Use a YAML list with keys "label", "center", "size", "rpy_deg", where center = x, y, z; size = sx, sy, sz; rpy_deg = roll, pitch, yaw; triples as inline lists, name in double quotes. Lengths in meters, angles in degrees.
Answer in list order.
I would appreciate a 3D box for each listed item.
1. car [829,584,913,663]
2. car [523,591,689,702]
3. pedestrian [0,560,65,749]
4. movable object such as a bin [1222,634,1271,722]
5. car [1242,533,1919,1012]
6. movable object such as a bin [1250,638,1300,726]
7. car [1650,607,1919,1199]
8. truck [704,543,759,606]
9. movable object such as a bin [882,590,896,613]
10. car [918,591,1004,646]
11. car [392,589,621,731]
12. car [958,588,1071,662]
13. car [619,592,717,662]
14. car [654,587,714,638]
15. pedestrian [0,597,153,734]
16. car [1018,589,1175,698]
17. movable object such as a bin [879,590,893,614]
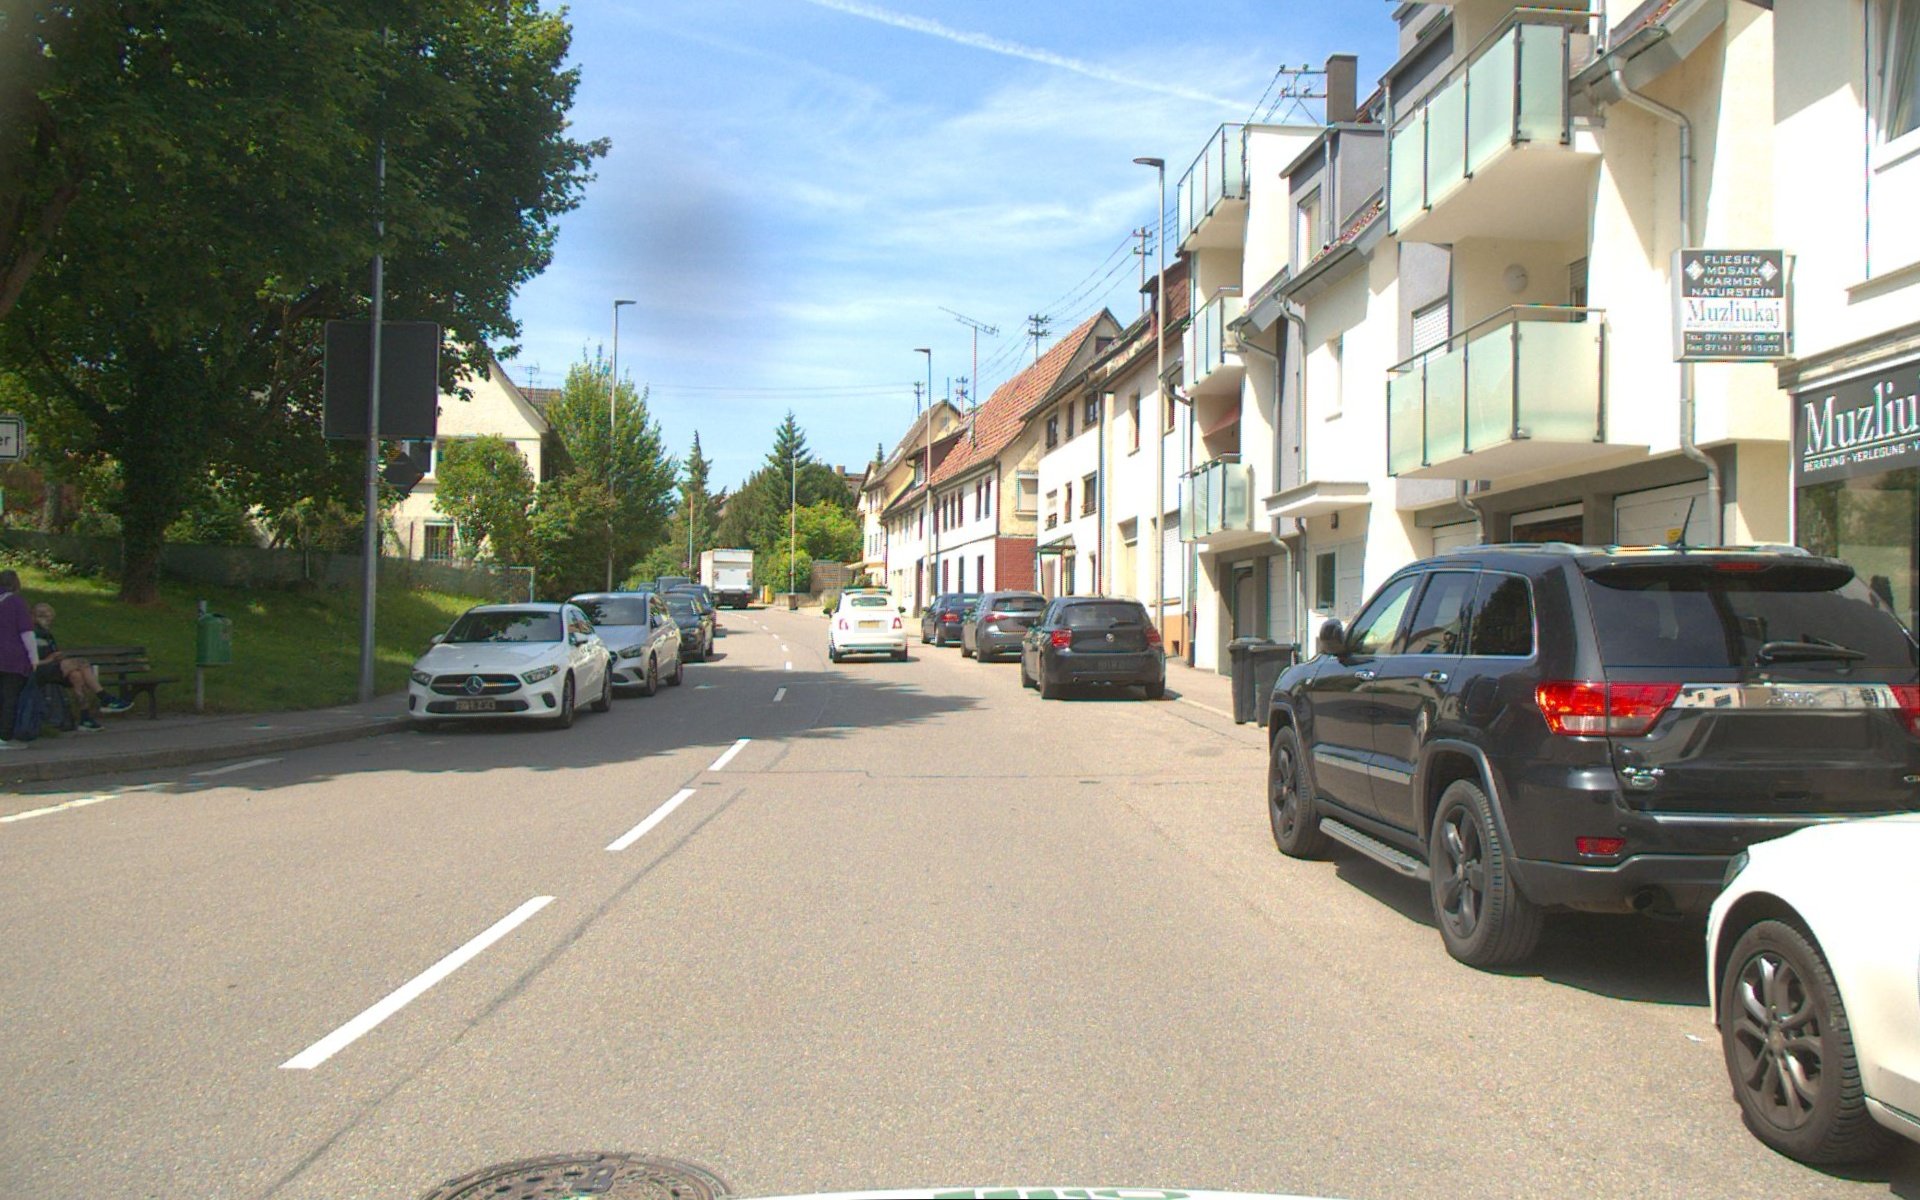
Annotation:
- label: "car"
  center: [-1.911, 0.479, 36.127]
  size: [1.690, 1.587, 3.998]
  rpy_deg: [-1, 0, -2]
- label: "car"
  center: [-5.464, 0.660, 26.008]
  size: [1.736, 1.554, 4.221]
  rpy_deg: [-1, 0, -1]
- label: "pedestrian"
  center: [-8.444, 0.472, 14.716]
  size: [0.720, 1.645, 0.625]
  rpy_deg: [2, -1, -22]
- label: "movable object such as a bin"
  center: [3.310, 0.897, 19.122]
  size: [0.422, 0.973, 0.517]
  rpy_deg: [-2, 0, -4]
- label: "car"
  center: [2.942, 0.615, 8.453]
  size: [1.915, 1.746, 4.713]
  rpy_deg: [0, 0, -4]
- label: "movable object such as a bin"
  center: [3.506, 0.904, 18.407]
  size: [0.422, 0.941, 0.491]
  rpy_deg: [-1, 0, -4]
- label: "car"
  center: [3.255, 0.784, 3.046]
  size: [1.753, 1.481, 4.713]
  rpy_deg: [0, 0, -4]
- label: "truck"
  center: [-14.619, -1.531, 105.325]
  size: [3.014, 3.840, 7.845]
  rpy_deg: [0, 0, -12]
- label: "movable object such as a bin"
  center: [-3.357, 0.081, 77.772]
  size: [0.537, 1.051, 0.550]
  rpy_deg: [-2, 1, -11]
- label: "car"
  center: [-0.027, 0.471, 44.102]
  size: [1.635, 1.376, 4.178]
  rpy_deg: [1, 0, -9]
- label: "car"
  center: [-5.366, 0.632, 20.139]
  size: [1.720, 1.492, 4.360]
  rpy_deg: [-1, 0, -3]
- label: "car"
  center: [1.096, 0.486, 35.334]
  size: [1.759, 1.427, 4.405]
  rpy_deg: [-1, 1, -7]
- label: "car"
  center: [-6.576, 0.568, 37.692]
  size: [1.769, 1.448, 4.923]
  rpy_deg: [-1, 0, -5]
- label: "car"
  center: [-8.602, 0.346, 51.497]
  size: [1.756, 1.489, 4.701]
  rpy_deg: [0, 0, -10]
- label: "pedestrian"
  center: [-8.848, 0.644, 16.511]
  size: [1.211, 1.291, 0.646]
  rpy_deg: [2, -1, 2]
- label: "car"
  center: [1.937, 0.589, 24.613]
  size: [1.761, 1.449, 4.287]
  rpy_deg: [-1, 0, -3]
- label: "movable object such as a bin"
  center: [-3.392, 0.098, 75.730]
  size: [0.537, 1.051, 0.550]
  rpy_deg: [-2, 1, -11]
